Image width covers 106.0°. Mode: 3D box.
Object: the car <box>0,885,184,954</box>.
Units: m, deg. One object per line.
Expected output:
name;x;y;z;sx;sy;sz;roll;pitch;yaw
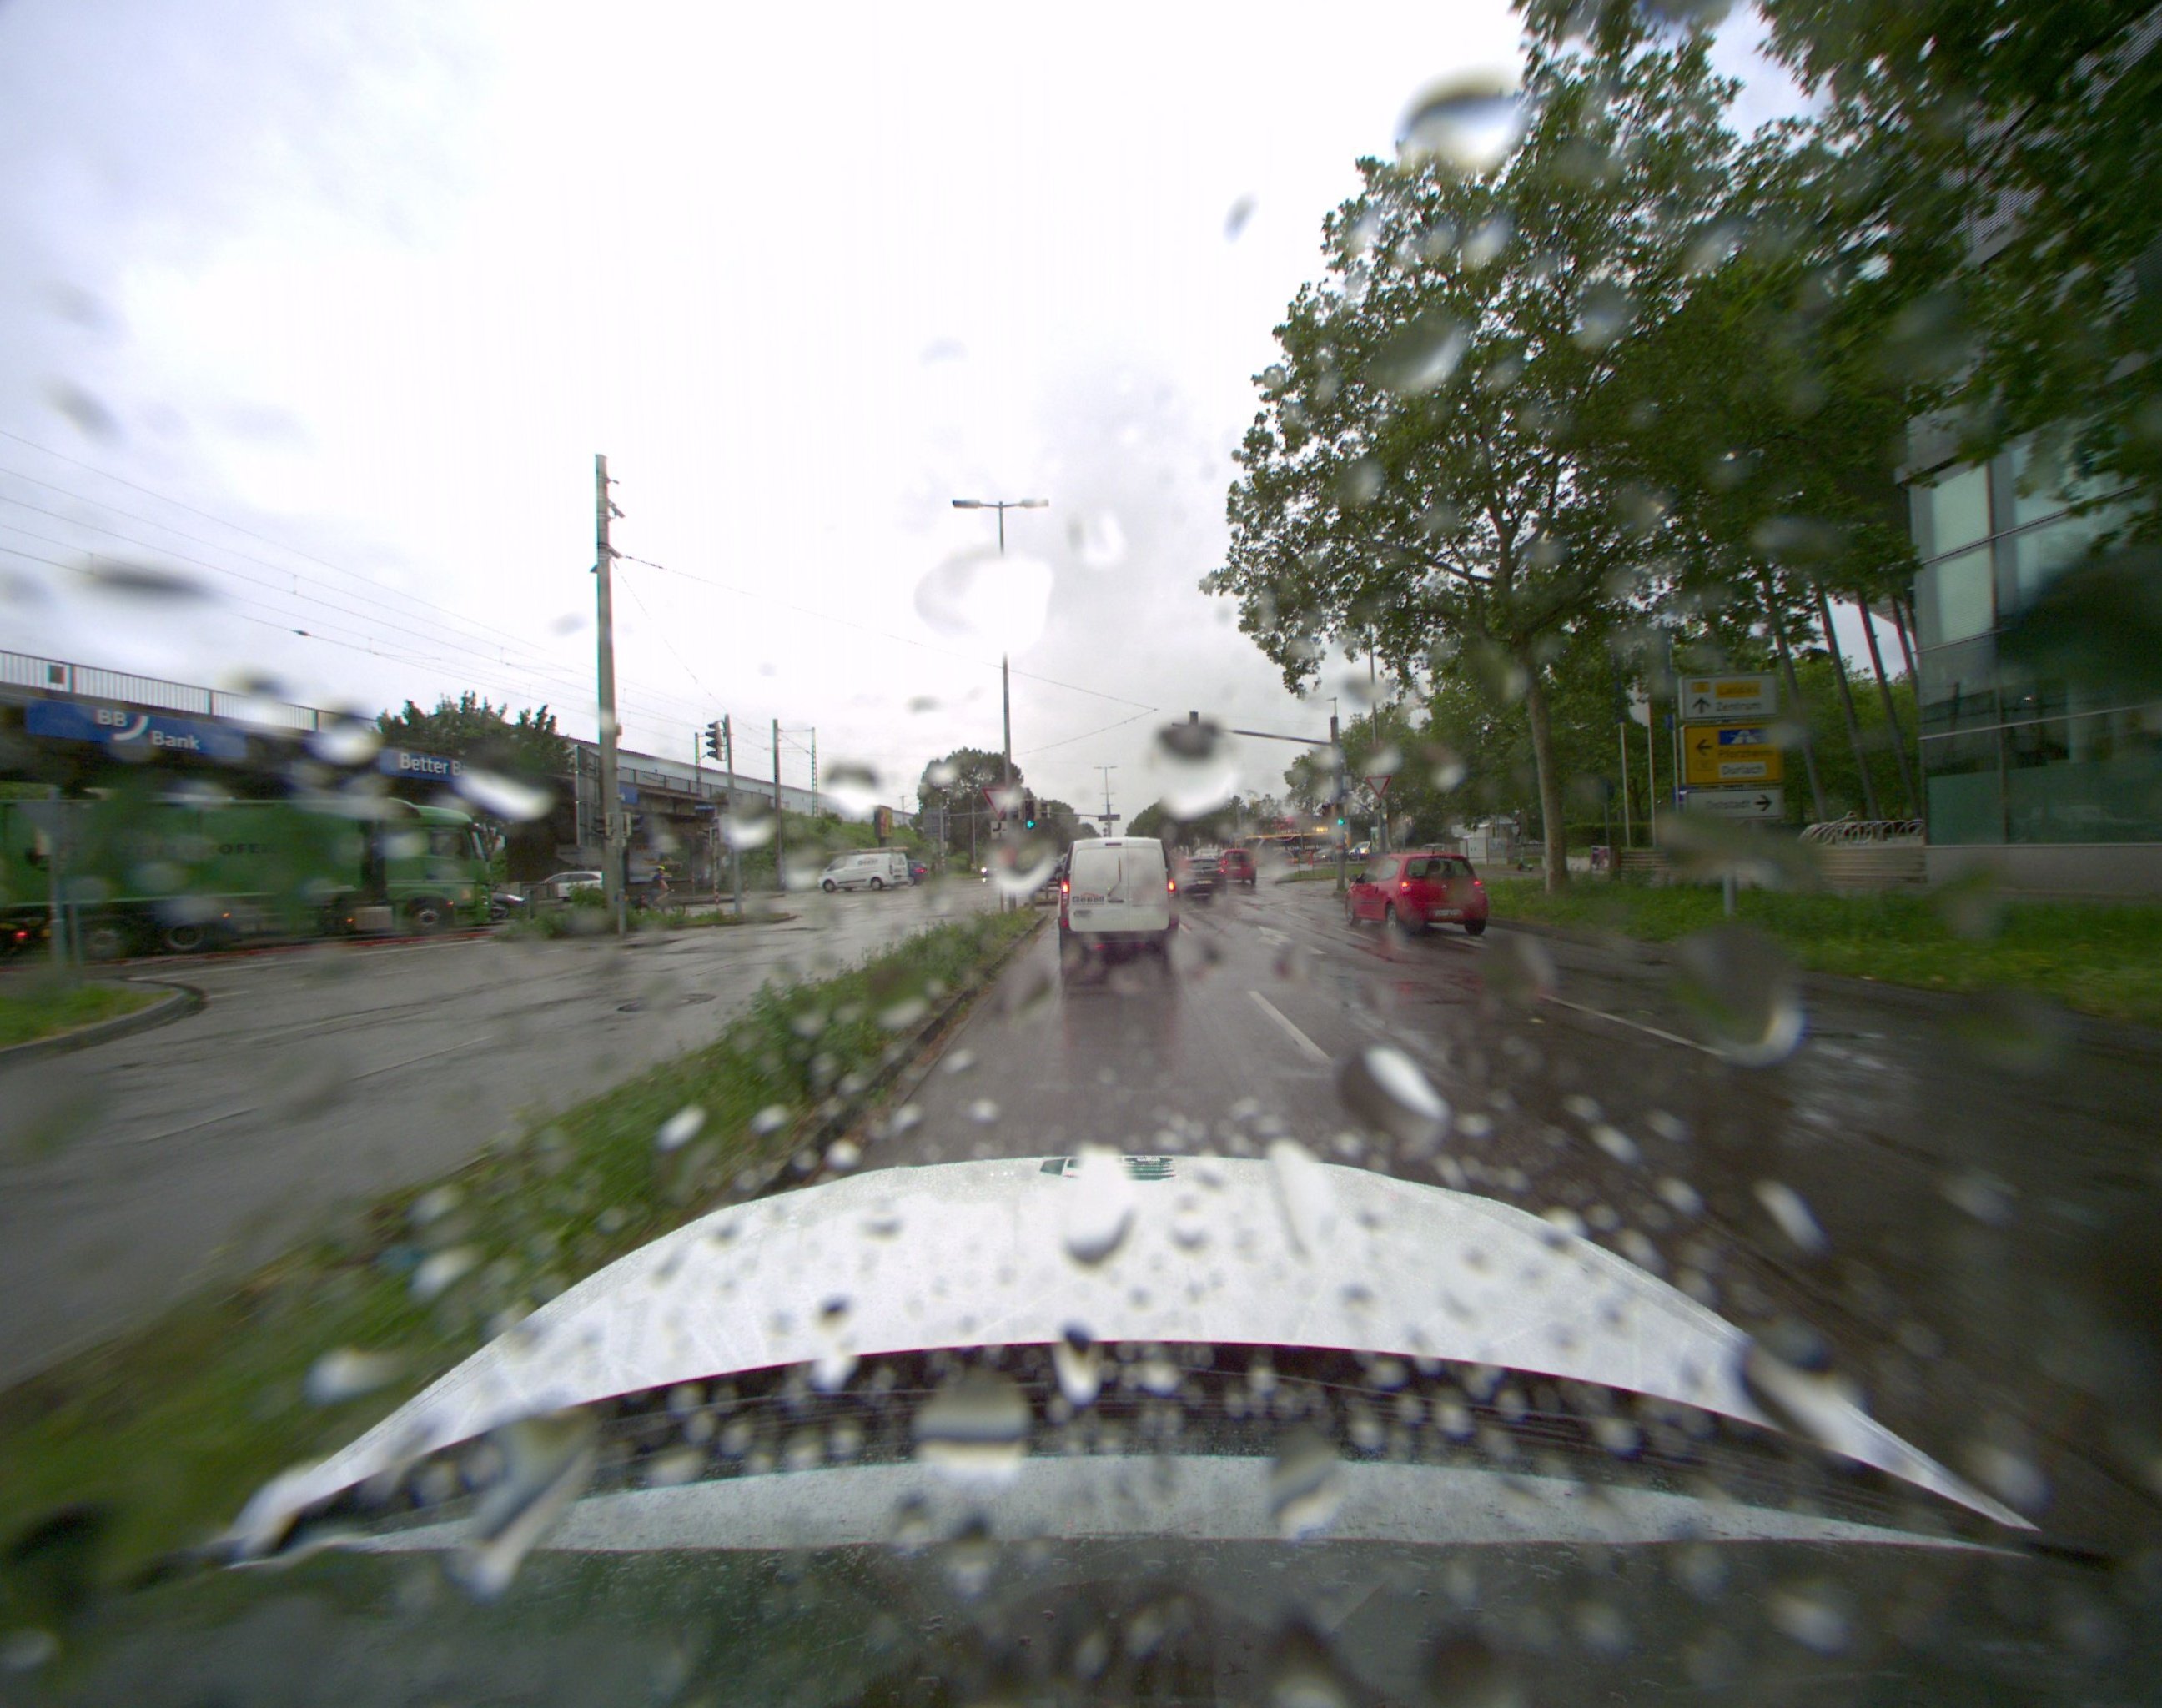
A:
car;-27.366;1.742;21.878;4.018;1.574;1.978;-3;0;-36

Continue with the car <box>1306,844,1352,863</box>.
car;23.984;-0.081;78.792;4.361;1.651;1.912;-2;0;-36

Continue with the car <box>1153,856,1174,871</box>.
car;9.038;0.994;89.129;1.986;1.560;4.002;-1;0;2

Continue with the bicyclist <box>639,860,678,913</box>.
bicyclist;-12.972;0.987;25.038;1.049;1.593;0.798;0;-1;-26

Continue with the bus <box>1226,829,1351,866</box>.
bus;21.538;-0.662;85.052;12.205;3.268;3.275;-2;0;1

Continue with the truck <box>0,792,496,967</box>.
truck;-21.968;0.480;21.625;10.237;3.949;2.659;-2;0;-34

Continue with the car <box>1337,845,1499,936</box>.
car;6.253;0.616;15.558;1.672;1.491;3.622;-1;0;2

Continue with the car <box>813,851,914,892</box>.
car;-11.680;0.929;43.791;4.766;1.955;2.010;-3;1;18

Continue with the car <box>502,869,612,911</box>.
car;-26.348;1.773;41.177;4.453;1.845;1.982;-2;0;-29

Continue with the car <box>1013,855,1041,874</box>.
car;-5.123;0.949;77.925;2.013;1.657;4.067;-2;0;5

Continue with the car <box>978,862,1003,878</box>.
car;-8.425;1.462;76.075;1.886;1.349;3.999;-2;0;0

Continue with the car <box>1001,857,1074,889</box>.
car;-2.015;0.848;36.710;1.590;1.306;3.419;-3;0;-37

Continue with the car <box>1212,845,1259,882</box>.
car;7.246;0.430;38.463;1.626;1.655;3.486;0;0;2

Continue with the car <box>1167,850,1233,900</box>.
car;4.120;0.700;28.665;1.836;1.618;4.001;-1;0;2

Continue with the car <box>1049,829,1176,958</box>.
car;0.497;0.554;13.370;1.749;1.777;4.001;-1;0;2

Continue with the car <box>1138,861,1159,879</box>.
car;6.660;1.526;80.366;1.985;1.574;4.004;-2;0;4

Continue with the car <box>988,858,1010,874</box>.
car;-8.283;1.233;82.388;1.822;1.482;3.998;-2;0;-1

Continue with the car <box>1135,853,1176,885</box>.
car;4.040;0.781;44.622;1.830;1.655;3.998;0;0;-1

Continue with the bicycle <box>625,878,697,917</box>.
bicycle;-12.896;1.319;25.071;1.916;1.094;0.689;-1;0;-26

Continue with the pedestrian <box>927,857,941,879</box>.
pedestrian;-11.857;1.151;65.787;1.001;1.719;0.818;-2;0;-7

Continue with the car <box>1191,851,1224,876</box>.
car;8.776;0.645;56.599;1.835;1.618;4.003;-1;0;3

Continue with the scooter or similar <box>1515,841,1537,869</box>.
scooter or similar;18.819;0.028;34.406;1.181;1.138;0.337;-3;0;-38

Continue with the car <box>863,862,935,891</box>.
car;-11.391;1.382;51.132;3.913;1.618;2.003;-3;0;4

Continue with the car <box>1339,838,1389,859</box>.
car;26.939;-0.549;77.542;4.766;1.849;2.055;-2;0;-35

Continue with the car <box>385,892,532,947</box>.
car;-21.977;2.268;28.893;4.019;1.546;1.641;-3;0;-38
